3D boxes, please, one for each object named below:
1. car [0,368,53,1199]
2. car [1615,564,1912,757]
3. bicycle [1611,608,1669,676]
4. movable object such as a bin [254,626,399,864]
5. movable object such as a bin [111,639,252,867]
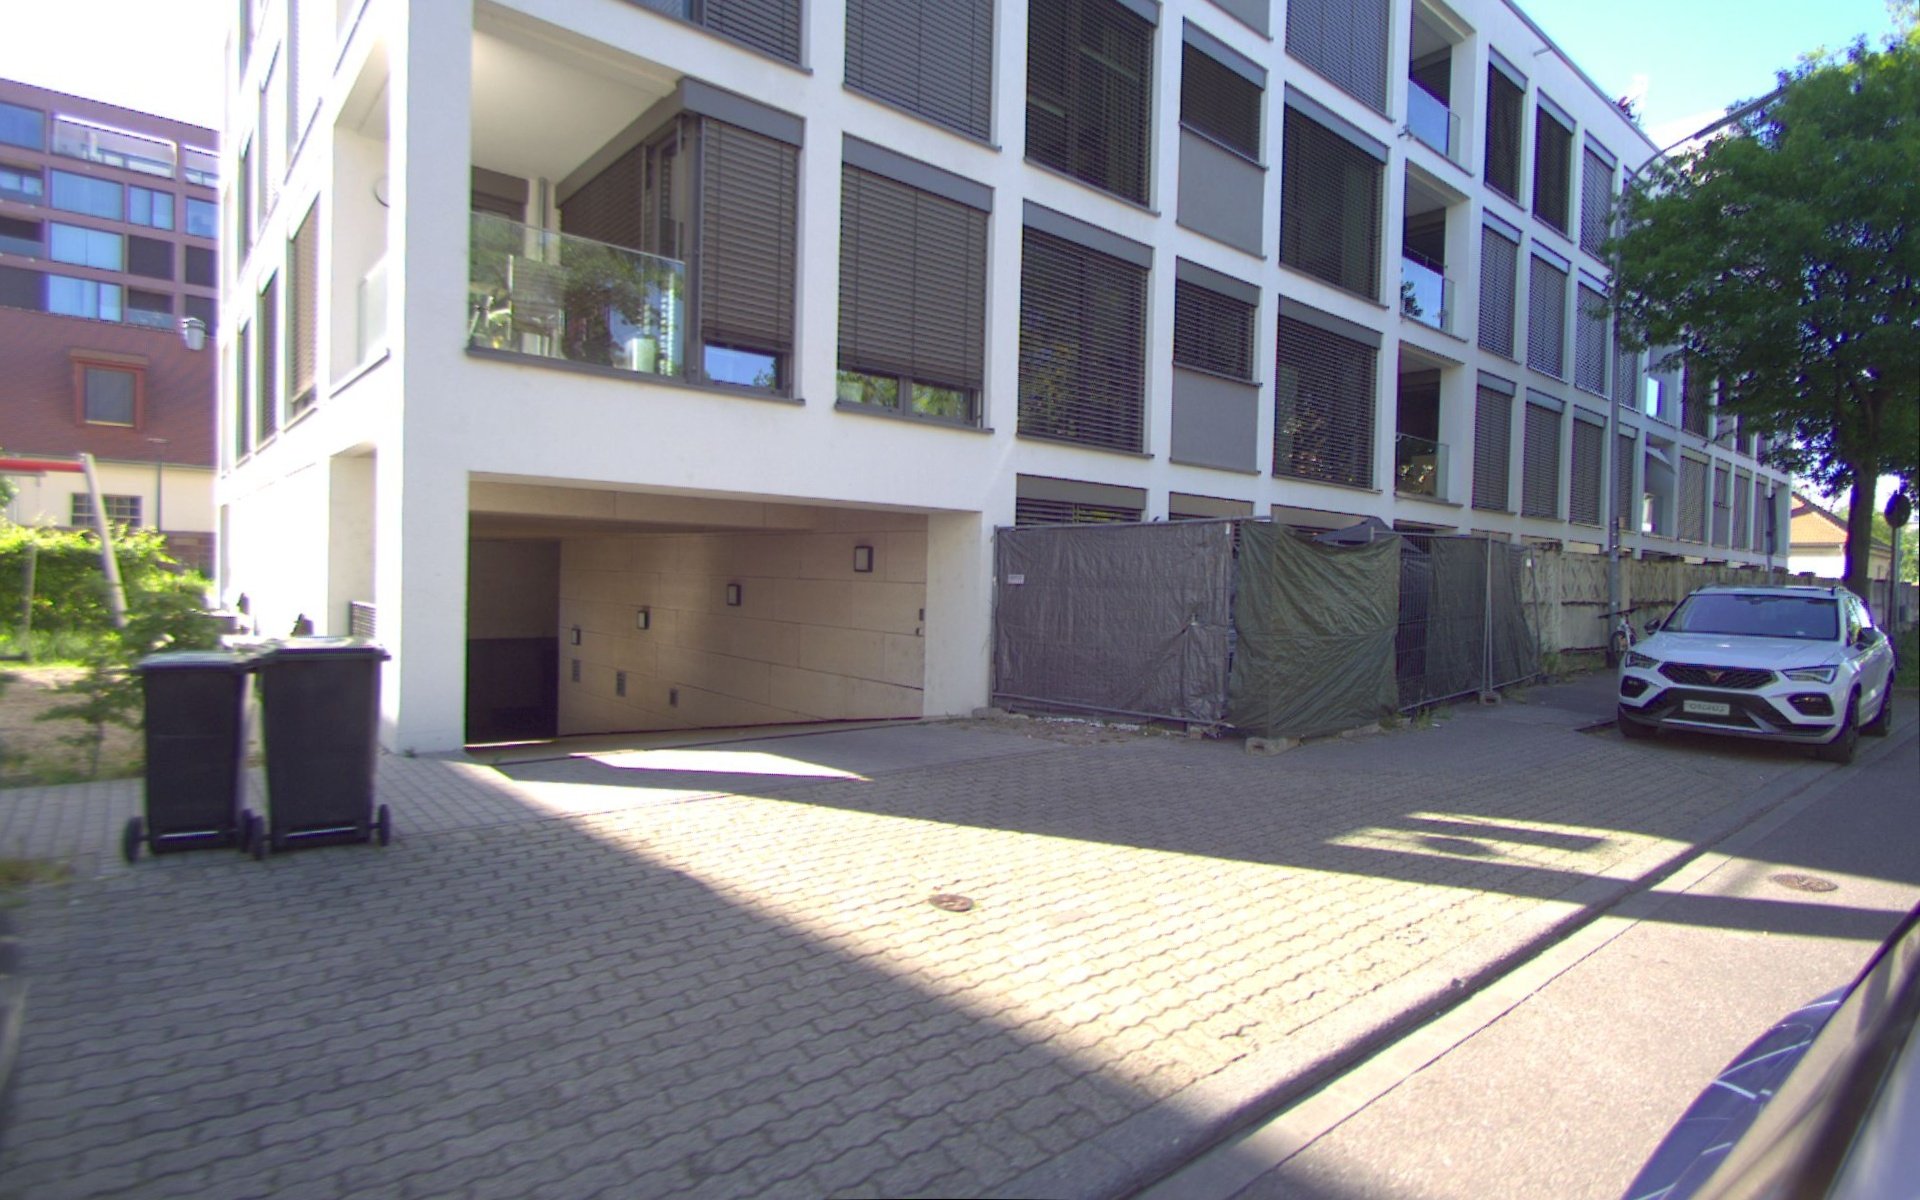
[{"bbox_3d":[-3.158,0.538,0.338,4.229,1.658,1.715,0,2,-43],"label":"car"},{"bbox_3d":[8.514,0.503,10.592,4.055,1.636,1.795,0,1,-42],"label":"car"},{"bbox_3d":[11.345,0.677,16.860,1.799,1.054,0.337,0,1,-41],"label":"bicycle"},{"bbox_3d":[-3.100,0.661,4.944,0.553,1.040,0.599,0,0,-37],"label":"movable object such as a bin"},{"bbox_3d":[-3.655,0.684,4.777,0.501,0.976,0.435,0,0,-36],"label":"movable object such as a bin"}]
